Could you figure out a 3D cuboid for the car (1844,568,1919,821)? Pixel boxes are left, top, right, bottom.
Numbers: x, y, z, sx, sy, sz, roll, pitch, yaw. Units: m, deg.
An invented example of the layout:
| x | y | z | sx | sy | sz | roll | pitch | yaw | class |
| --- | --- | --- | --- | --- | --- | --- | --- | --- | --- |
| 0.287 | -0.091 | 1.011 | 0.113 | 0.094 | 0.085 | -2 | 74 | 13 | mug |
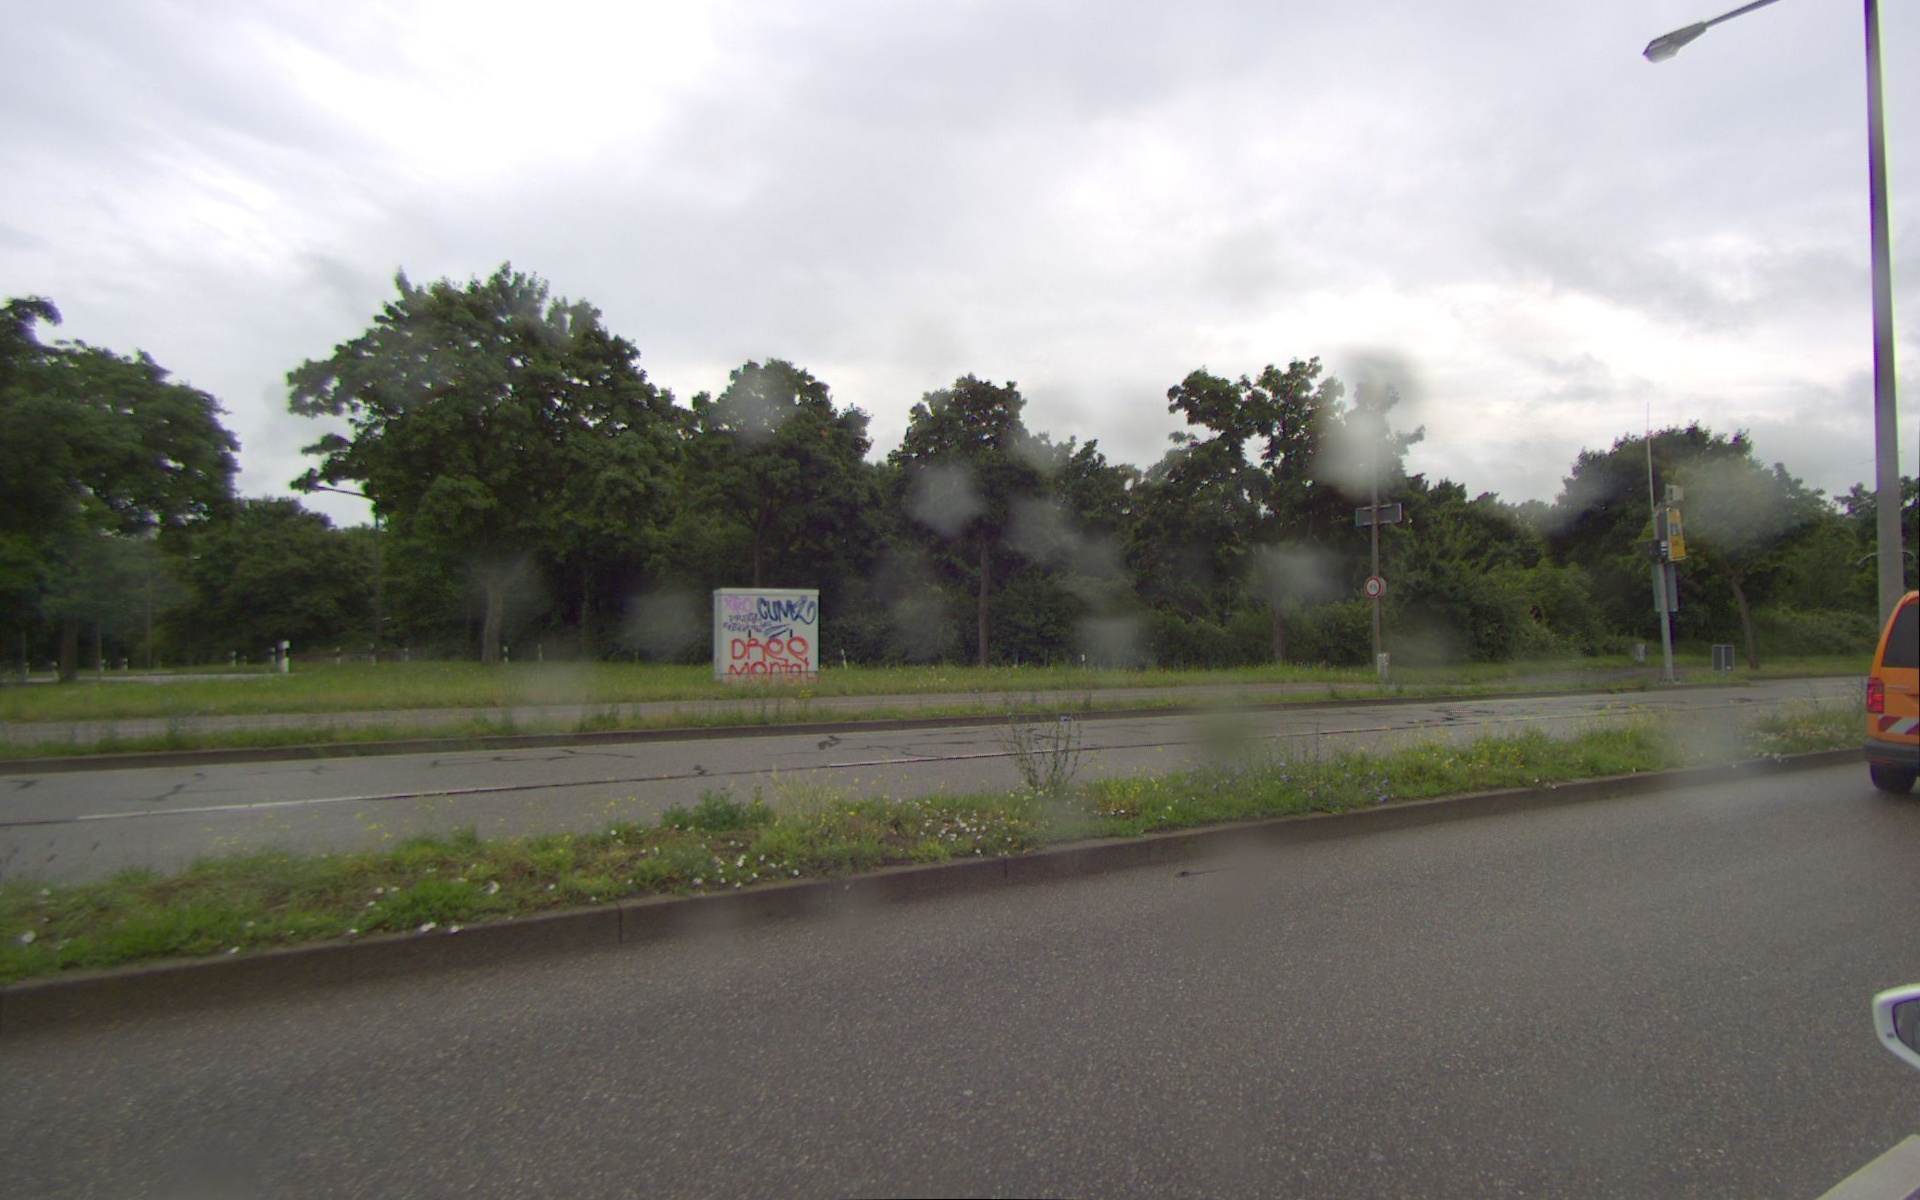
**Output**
| x | y | z | sx | sy | sz | roll | pitch | yaw | class |
| --- | --- | --- | --- | --- | --- | --- | --- | --- | --- |
| 10.026 | 0.824 | 9.028 | 4.793 | 2.045 | 1.726 | 2 | 0 | -31 | car |
